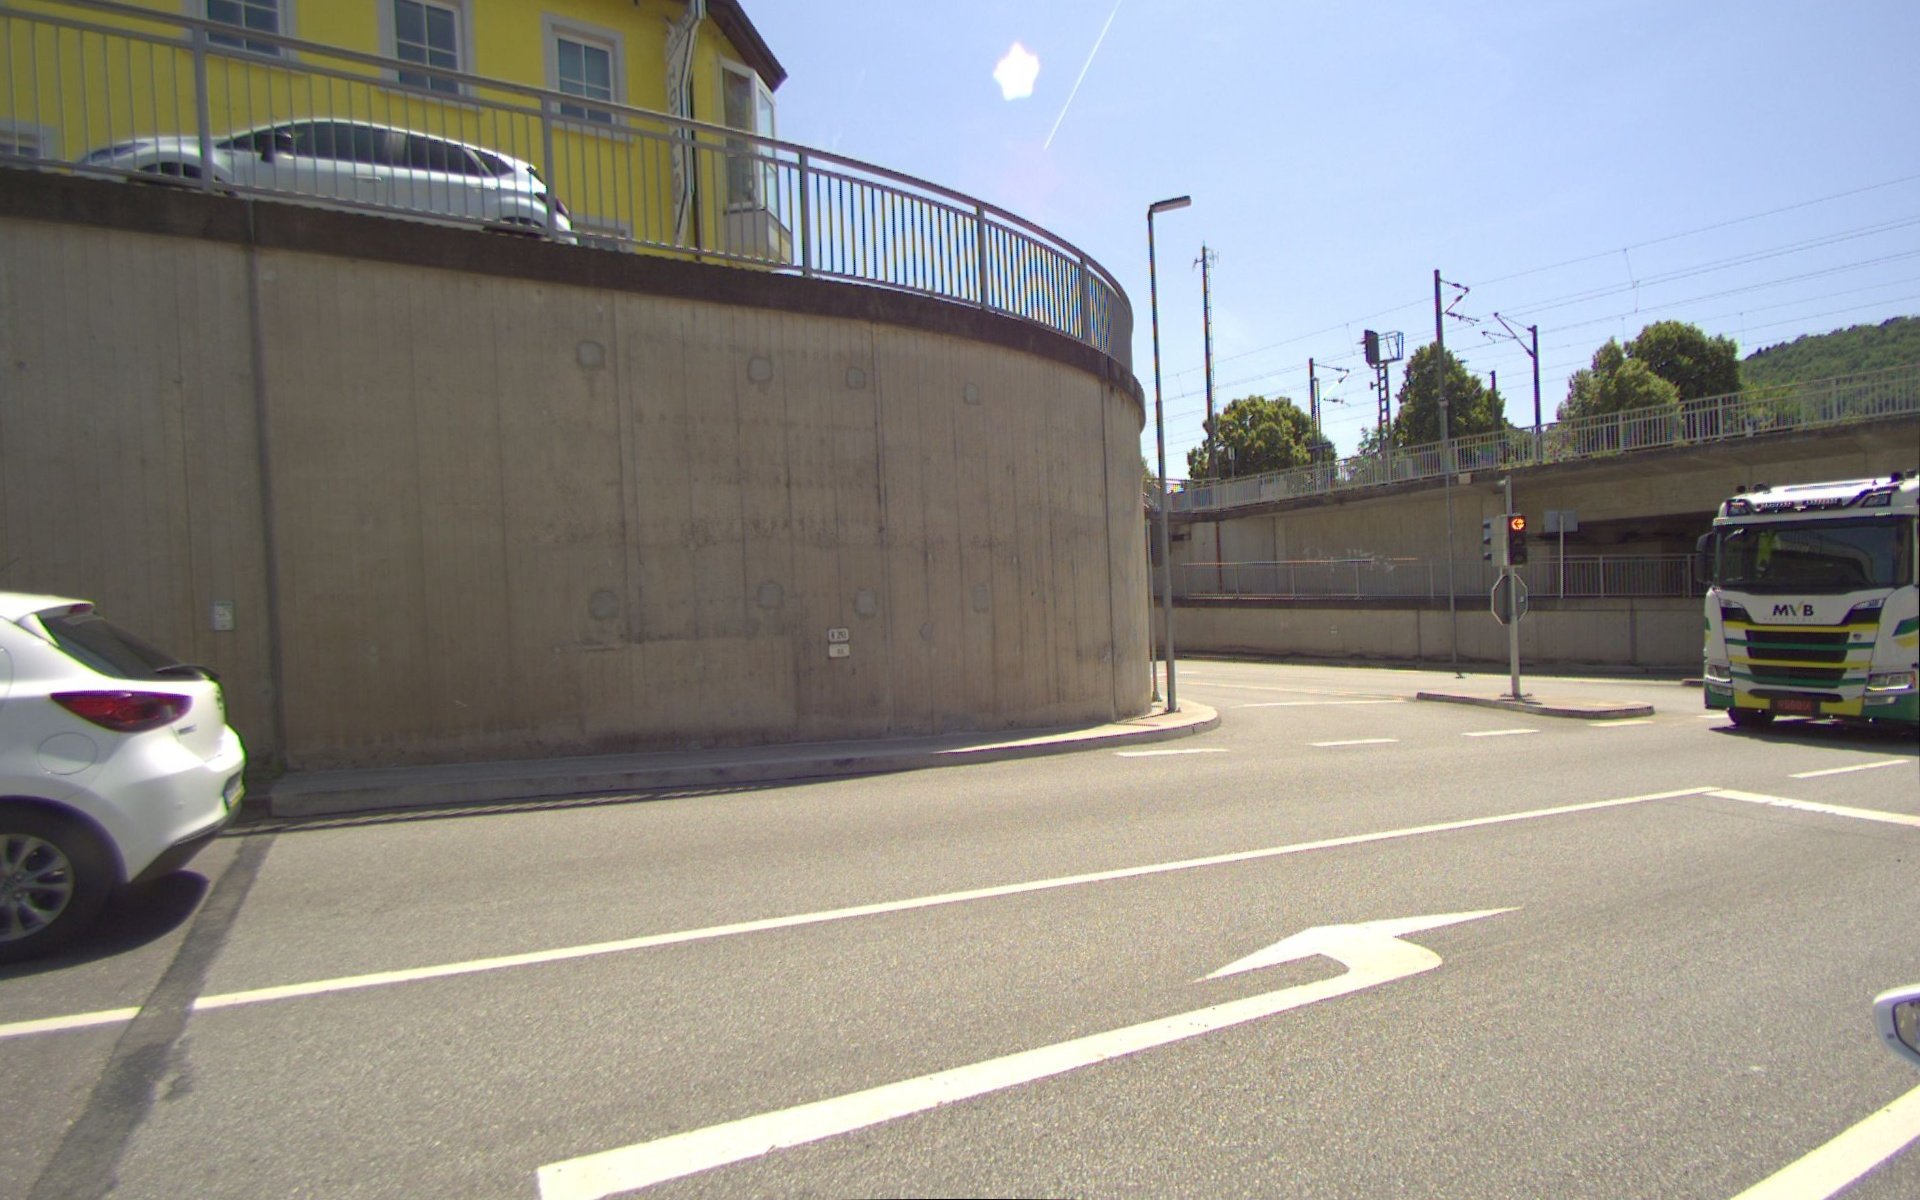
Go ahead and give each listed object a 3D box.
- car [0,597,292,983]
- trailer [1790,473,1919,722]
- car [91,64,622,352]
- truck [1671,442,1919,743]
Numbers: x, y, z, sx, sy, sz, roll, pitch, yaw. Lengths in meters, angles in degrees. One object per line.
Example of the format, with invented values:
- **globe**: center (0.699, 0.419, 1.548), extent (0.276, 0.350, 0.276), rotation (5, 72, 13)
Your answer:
- **car**: center (-5.146, 0.706, 3.945), extent (4.044, 1.460, 1.674), rotation (1, 0, -30)
- **trailer**: center (18.481, 0.018, 17.605), extent (9.768, 3.712, 2.678), rotation (1, 0, -29)
- **car**: center (-5.504, -3.498, 9.627), extent (4.000, 1.521, 1.609), rotation (-3, 2, -33)
- **truck**: center (14.329, -0.051, 15.304), extent (7.275, 3.712, 2.679), rotation (1, 0, -28)
